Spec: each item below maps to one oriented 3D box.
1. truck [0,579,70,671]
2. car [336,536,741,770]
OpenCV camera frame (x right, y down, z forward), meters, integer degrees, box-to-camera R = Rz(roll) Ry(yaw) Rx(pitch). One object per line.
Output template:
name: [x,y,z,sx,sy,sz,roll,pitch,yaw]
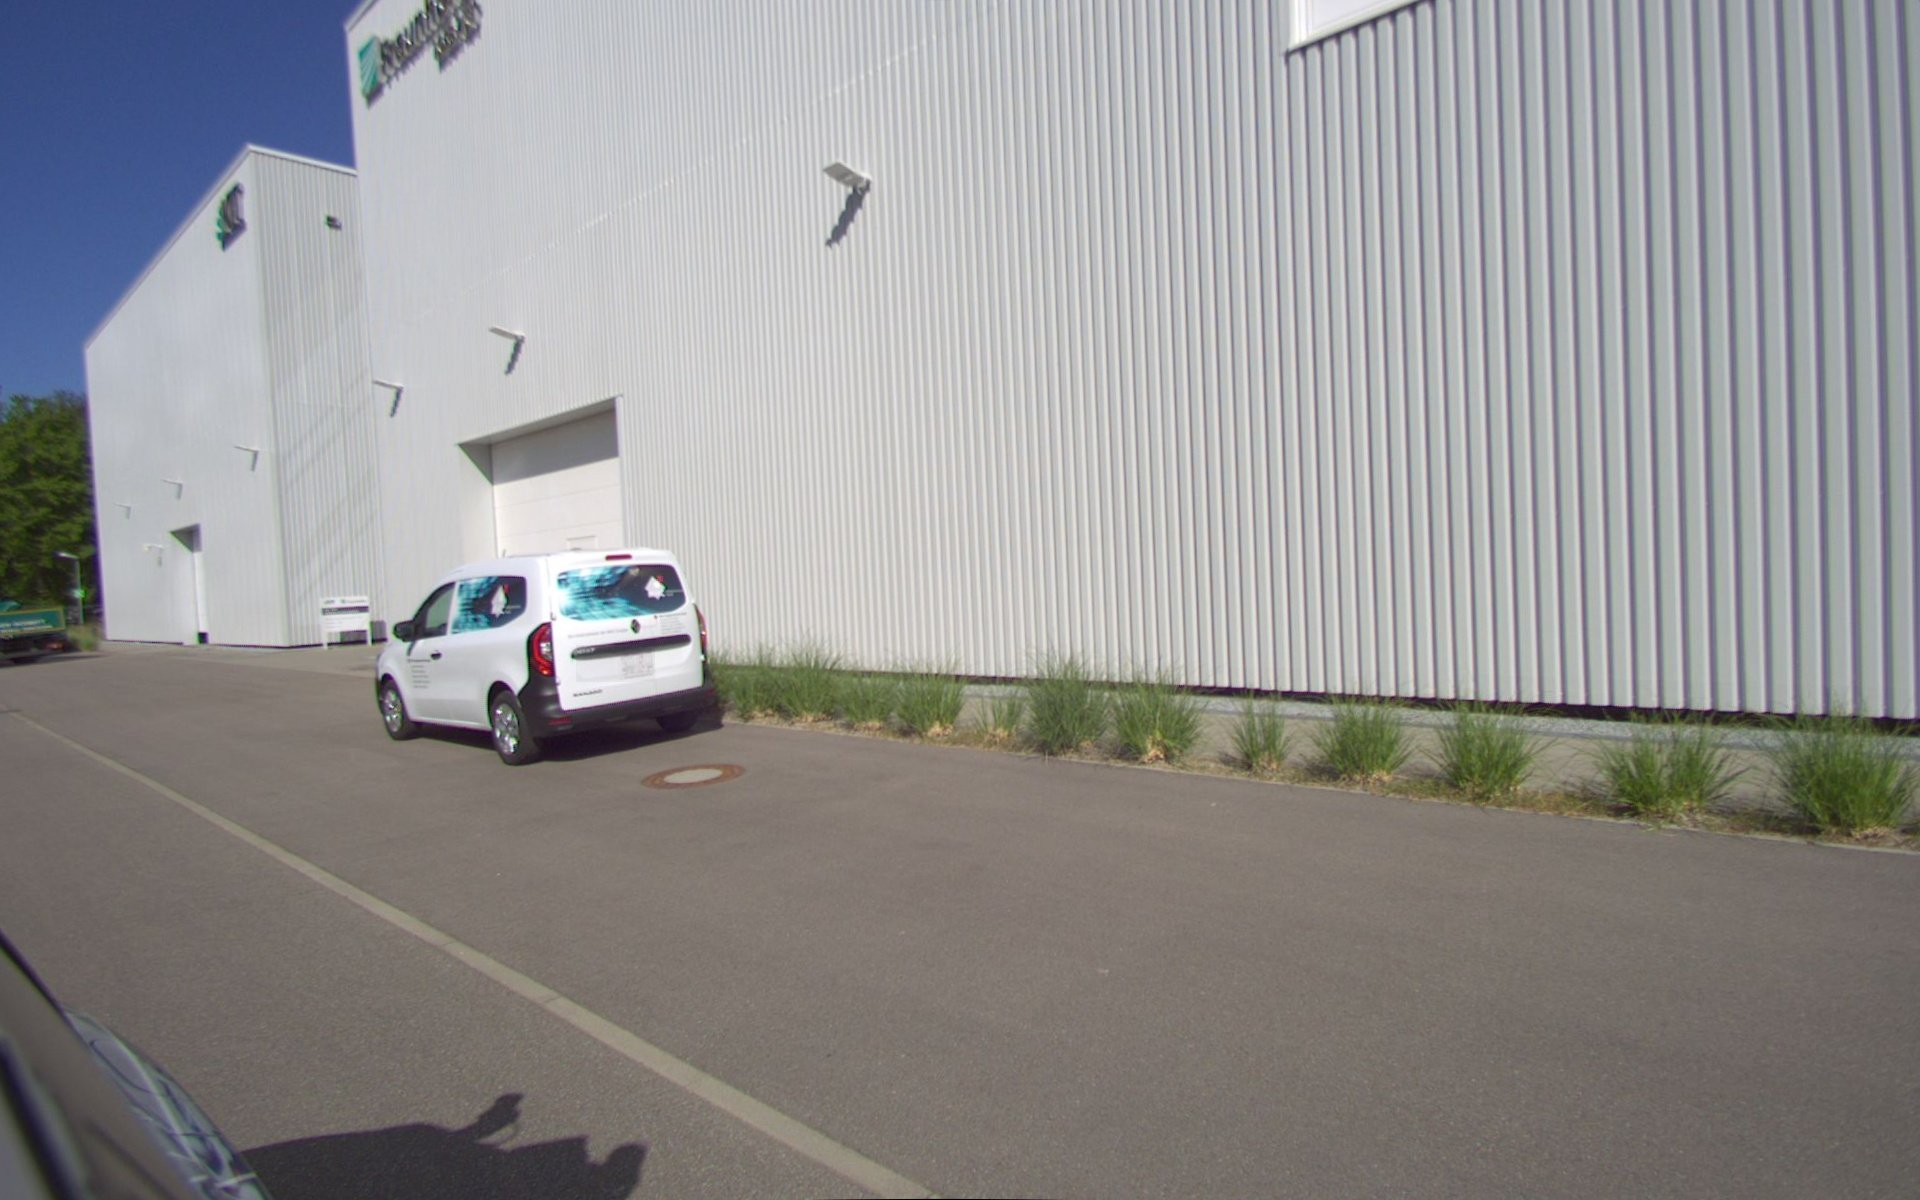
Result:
truck: [-33.785,0.993,34.051,9.655,2.736,2.565,-3,3,30]
car: [-4.434,0.430,10.265,4.596,1.803,1.908,-2,3,42]
